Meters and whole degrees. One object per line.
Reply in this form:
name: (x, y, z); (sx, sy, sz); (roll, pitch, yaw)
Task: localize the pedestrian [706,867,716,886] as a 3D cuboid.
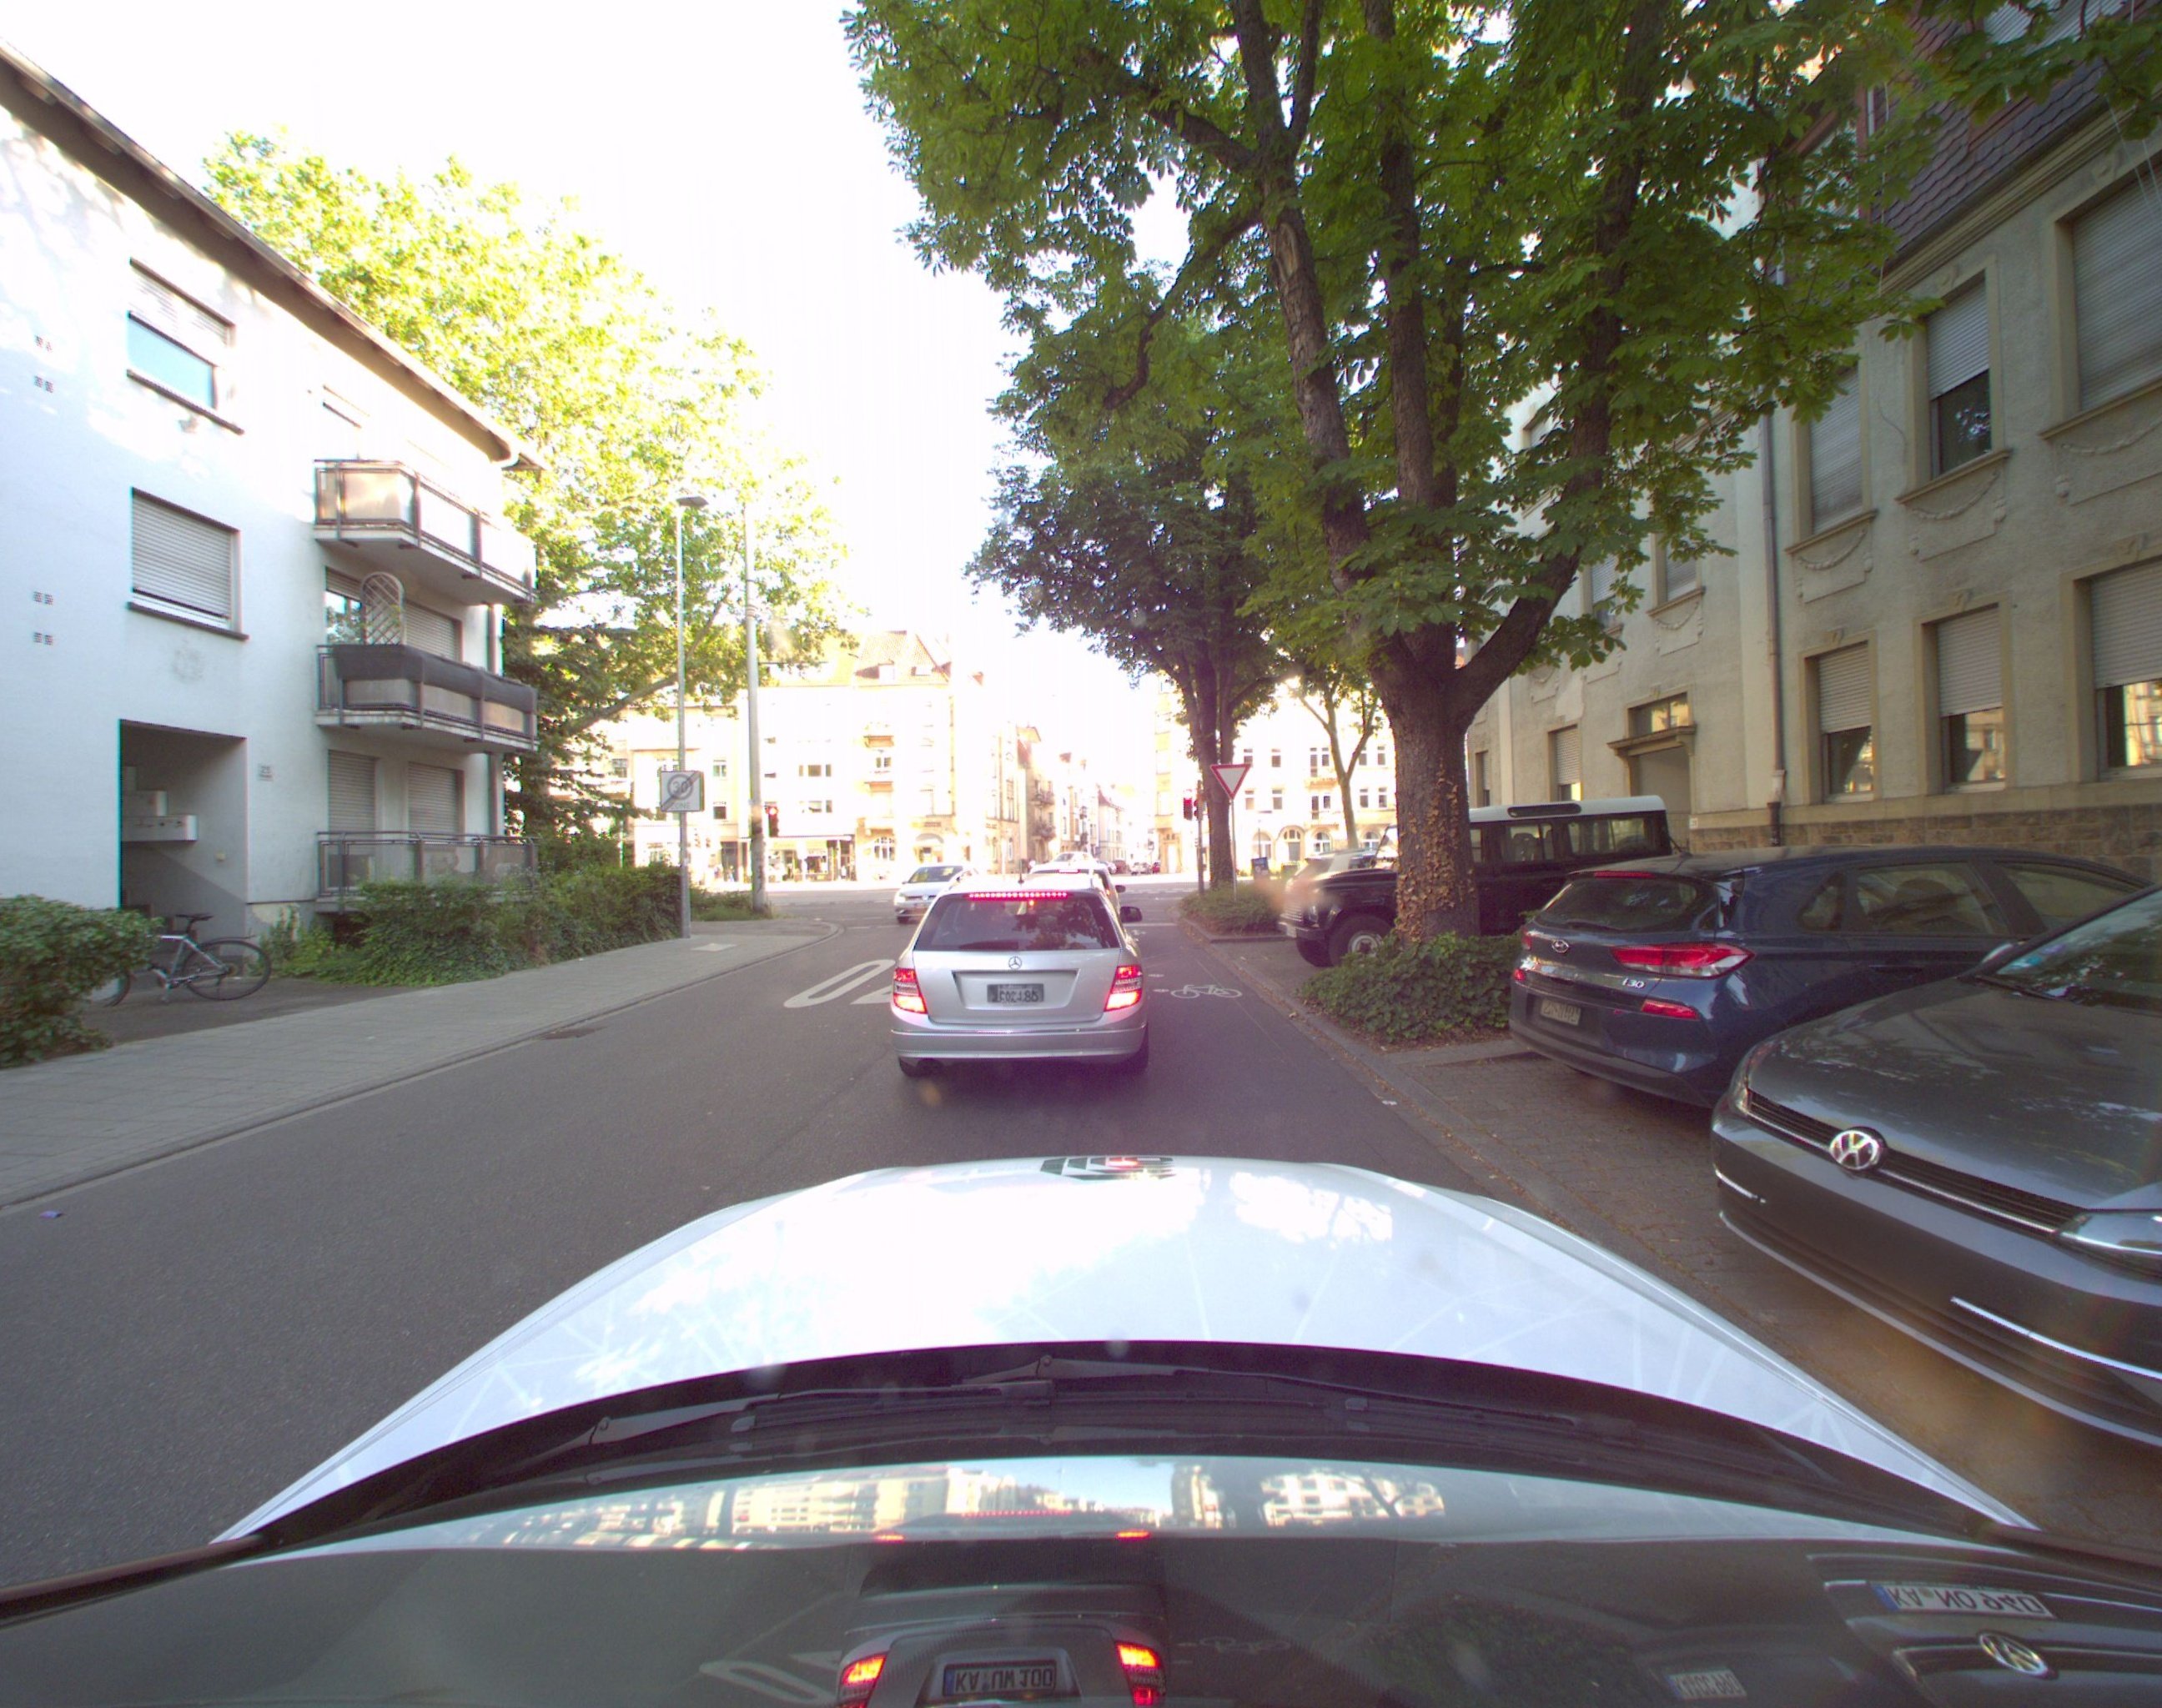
pedestrian: (-29.674, 1.816, 65.341); (0.539, 1.511, 0.504); (-1, -1, -40)

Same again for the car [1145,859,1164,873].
car: (9.219, 1.456, 102.032); (1.709, 1.478, 4.016); (-6, -1, 14)

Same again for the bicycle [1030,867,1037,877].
bicycle: (-4.306, 1.610, 73.316); (0.567, 0.834, 1.565); (-1, 0, -1)

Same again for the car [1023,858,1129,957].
car: (-0.066, 0.788, 13.681); (1.528, 1.391, 3.599); (-1, 0, 0)

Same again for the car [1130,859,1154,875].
car: (6.473, 1.317, 85.918); (1.708, 1.478, 4.016); (-3, 0, 14)

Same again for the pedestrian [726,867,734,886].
pedestrian: (-27.979, 1.767, 64.891); (0.474, 1.511, 0.428); (-1, 0, -18)

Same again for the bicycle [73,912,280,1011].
bicycle: (-10.008, 1.158, 9.082); (1.469, 0.975, 0.402); (2, -2, -38)

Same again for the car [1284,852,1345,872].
car: (14.163, 0.472, 49.518); (3.352, 1.069, 1.380); (-2, 0, 0)

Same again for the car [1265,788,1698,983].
car: (4.789, 0.353, 10.195); (4.478, 1.956, 1.792); (-3, 0, -1)

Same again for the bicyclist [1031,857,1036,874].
bicyclist: (-4.291, 1.021, 73.460); (0.465, 1.514, 0.655); (-1, 0, -2)

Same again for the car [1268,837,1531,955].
car: (4.971, 0.614, 13.010); (3.475, 1.586, 1.708); (-3, 0, -5)

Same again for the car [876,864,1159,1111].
car: (-0.396, 0.812, 6.615); (1.685, 1.429, 3.491); (0, 0, -1)

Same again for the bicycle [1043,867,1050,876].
bicycle: (-3.107, 1.565, 73.571); (0.567, 0.834, 1.565); (-1, 0, -1)

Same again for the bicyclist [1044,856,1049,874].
bicyclist: (-3.129, 0.991, 73.606); (0.465, 1.521, 0.693); (-1, 0, -2)

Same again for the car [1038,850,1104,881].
car: (-0.510, 0.598, 44.159); (1.600, 1.501, 3.615); (-1, 1, 38)

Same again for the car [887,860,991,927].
car: (-3.591, 0.948, 21.392); (1.774, 1.462, 4.301); (-3, 0, 2)

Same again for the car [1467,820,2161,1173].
car: (4.418, 0.618, 4.508); (3.739, 1.422, 1.627); (-3, -1, -2)

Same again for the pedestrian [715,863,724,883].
pedestrian: (-28.306, 1.508, 63.797); (0.566, 1.511, 0.499); (-1, 0, -17)

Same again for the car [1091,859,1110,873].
car: (2.525, 1.531, 102.552); (1.639, 1.783, 3.876); (-1, -1, 13)

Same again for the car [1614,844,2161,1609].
car: (4.083, 0.665, 2.320); (4.037, 1.422, 1.627); (-3, -1, -2)
